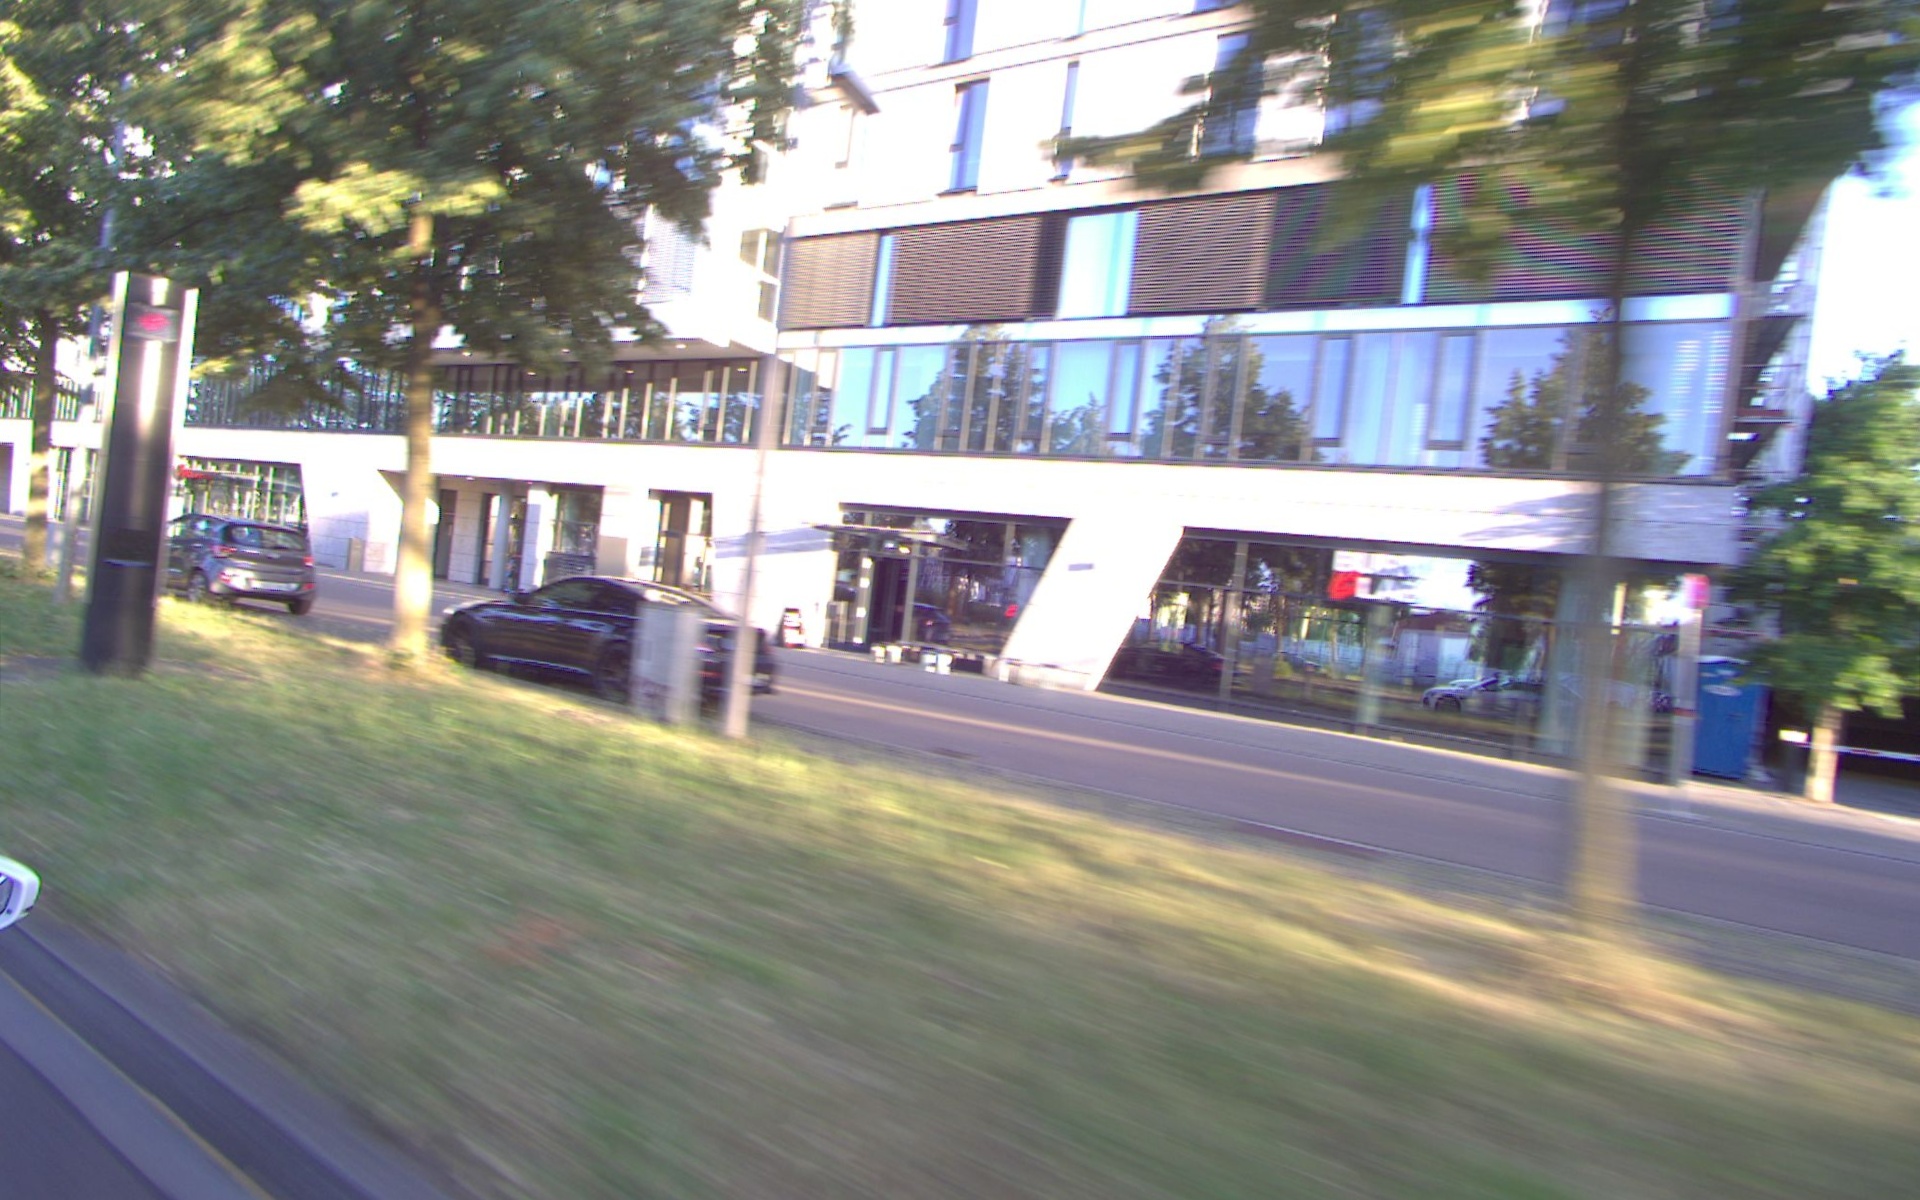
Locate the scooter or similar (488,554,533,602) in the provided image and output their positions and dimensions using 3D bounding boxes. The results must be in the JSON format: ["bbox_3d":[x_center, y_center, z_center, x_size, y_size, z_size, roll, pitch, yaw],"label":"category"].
[{"bbox_3d":[-12.934,-0.641,28.947,1.208,1.226,0.473,7,1,32],"label":"scooter or similar"}]

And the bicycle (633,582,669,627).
[{"bbox_3d":[-7.957,0.110,25.892,0.450,1.040,1.381,6,0,-32],"label":"bicycle"}]

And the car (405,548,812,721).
[{"bbox_3d":[-4.335,0.383,12.208,4.751,1.383,1.857,7,-2,29],"label":"car"}]

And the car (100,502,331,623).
[{"bbox_3d":[-12.772,-0.659,17.233,3.695,1.532,1.714,7,-2,30],"label":"car"}]

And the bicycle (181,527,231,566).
[{"bbox_3d":[-24.137,-1.719,32.189,1.861,1.052,0.595,7,0,32],"label":"bicycle"}]
